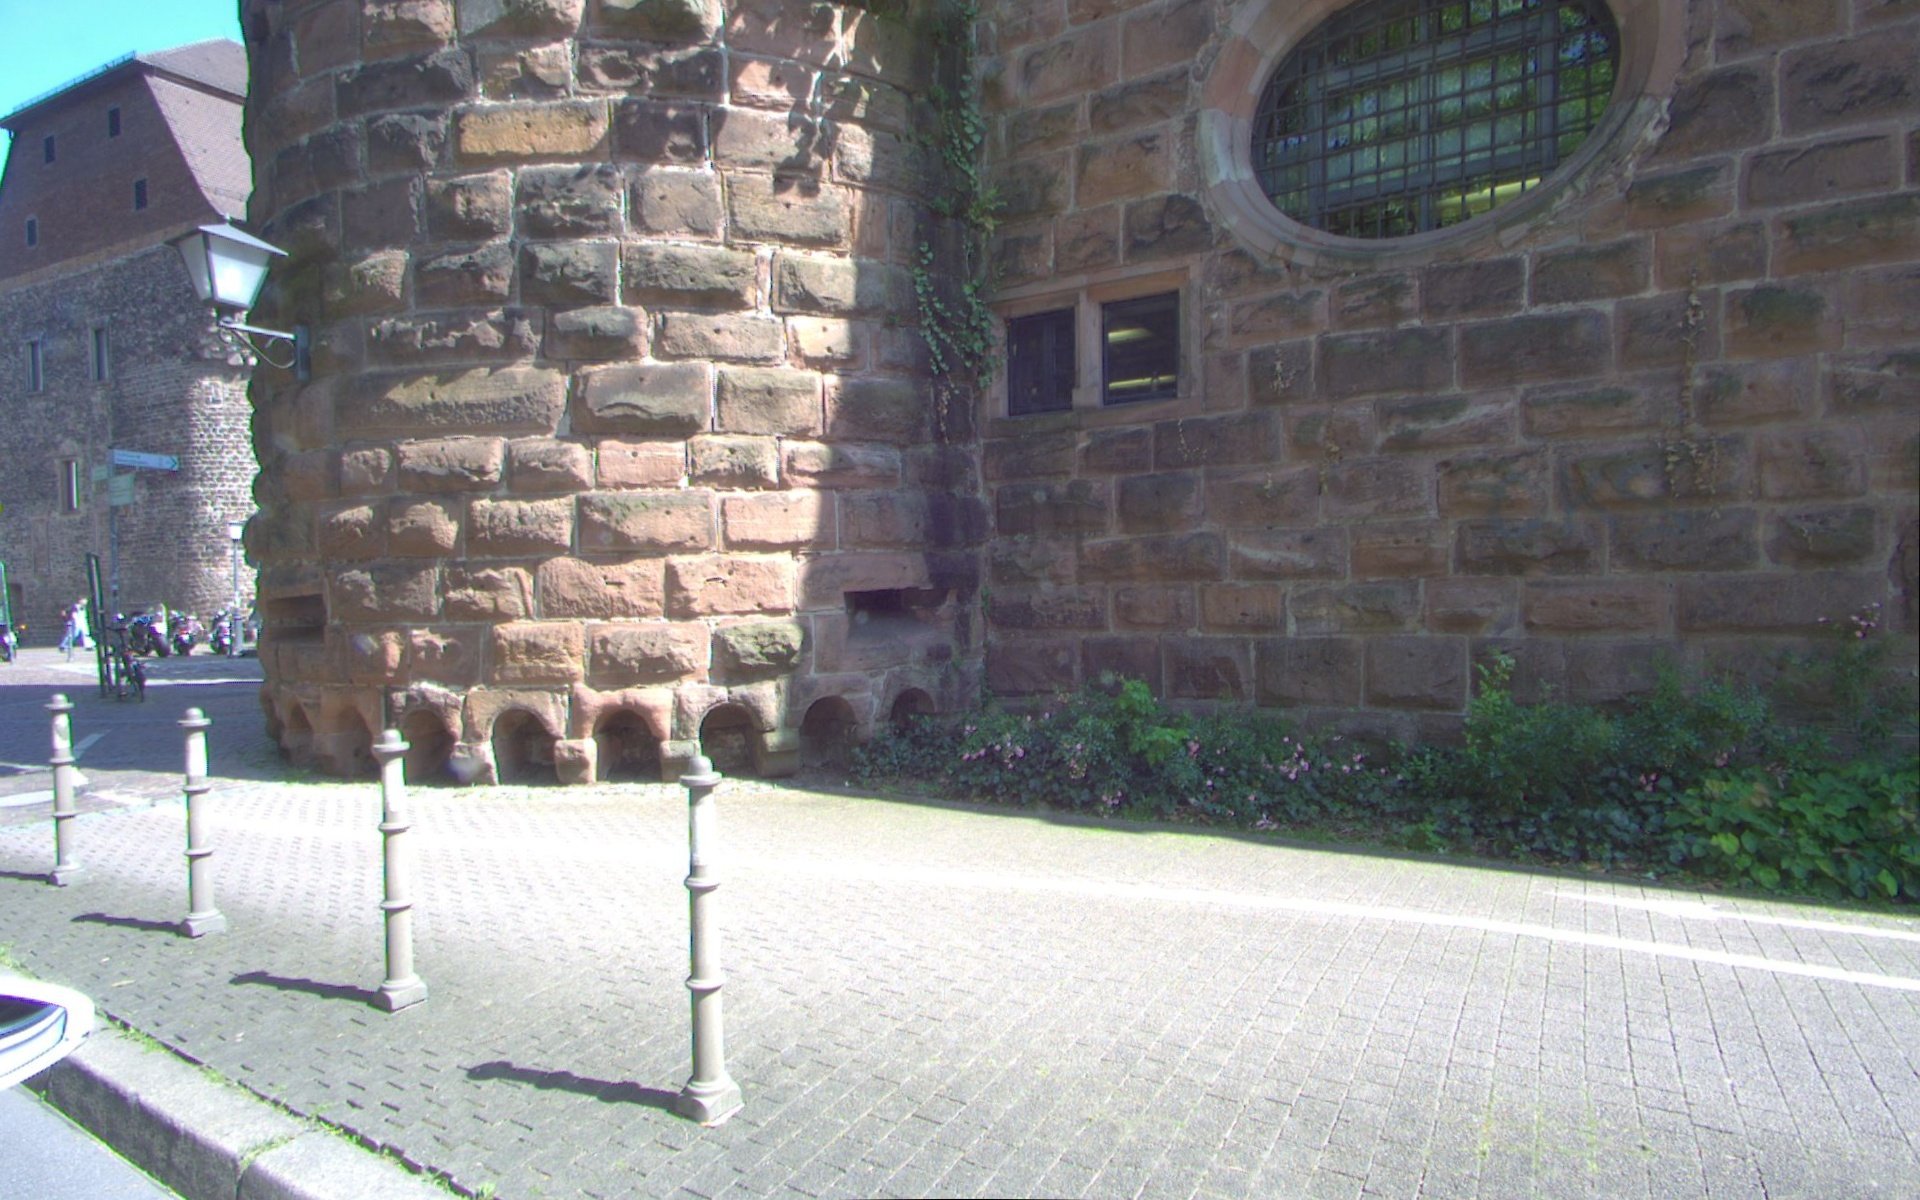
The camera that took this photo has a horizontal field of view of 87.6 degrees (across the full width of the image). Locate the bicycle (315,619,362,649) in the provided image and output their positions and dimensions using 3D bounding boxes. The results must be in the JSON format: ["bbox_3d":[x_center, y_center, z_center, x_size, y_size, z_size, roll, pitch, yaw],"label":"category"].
[{"bbox_3d":[-18.382,0.997,29.613,1.898,0.831,0.353,0,-1,32],"label":"bicycle"}]

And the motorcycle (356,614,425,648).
[{"bbox_3d":[-17.906,0.980,31.516,0.474,1.067,1.858,-1,-2,40],"label":"motorcycle"}]

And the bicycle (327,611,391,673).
[{"bbox_3d":[-11.940,0.805,19.867,1.707,1.178,0.445,0,1,36],"label":"bicycle"}]

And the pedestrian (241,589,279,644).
[{"bbox_3d":[-23.511,0.546,33.644,0.830,1.826,0.654,0,0,-3],"label":"pedestrian"}]

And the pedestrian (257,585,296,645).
[{"bbox_3d":[-23.655,0.519,34.652,0.861,2.039,0.732,0,-1,-8],"label":"pedestrian"}]

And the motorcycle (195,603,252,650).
[{"bbox_3d":[-19.996,0.723,27.182,2.002,1.251,0.545,-1,-2,32],"label":"motorcycle"}]

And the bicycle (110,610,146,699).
[{"bbox_3d":[-12.018,0.754,14.454,1.750,1.220,0.192,0,1,44],"label":"bicycle"}]

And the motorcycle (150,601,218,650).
[{"bbox_3d":[-20.474,0.677,26.410,2.280,1.251,0.674,-1,-2,32],"label":"motorcycle"}]

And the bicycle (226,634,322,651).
[{"bbox_3d":[-17.553,1.076,25.631,1.916,0.386,0.909,0,-2,-44],"label":"bicycle"}]

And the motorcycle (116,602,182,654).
[{"bbox_3d":[-20.628,0.707,25.458,2.169,1.282,0.654,-1,-1,32],"label":"motorcycle"}]

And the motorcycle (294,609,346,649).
[{"bbox_3d":[-18.012,0.815,28.179,1.814,1.087,0.506,-1,-2,32],"label":"motorcycle"}]

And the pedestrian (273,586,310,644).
[{"bbox_3d":[-22.426,0.514,33.598,0.805,1.908,0.671,0,-1,6],"label":"pedestrian"}]

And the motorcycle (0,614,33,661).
[{"bbox_3d":[-22.132,0.838,23.017,2.453,1.026,0.565,0,1,32],"label":"motorcycle"}]

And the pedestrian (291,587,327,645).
[{"bbox_3d":[-22.333,0.555,34.360,0.805,1.944,0.671,0,-1,5],"label":"pedestrian"}]

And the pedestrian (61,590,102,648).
[{"bbox_3d":[-26.113,0.544,29.768,0.799,1.684,0.652,-1,1,-34],"label":"pedestrian"}]
